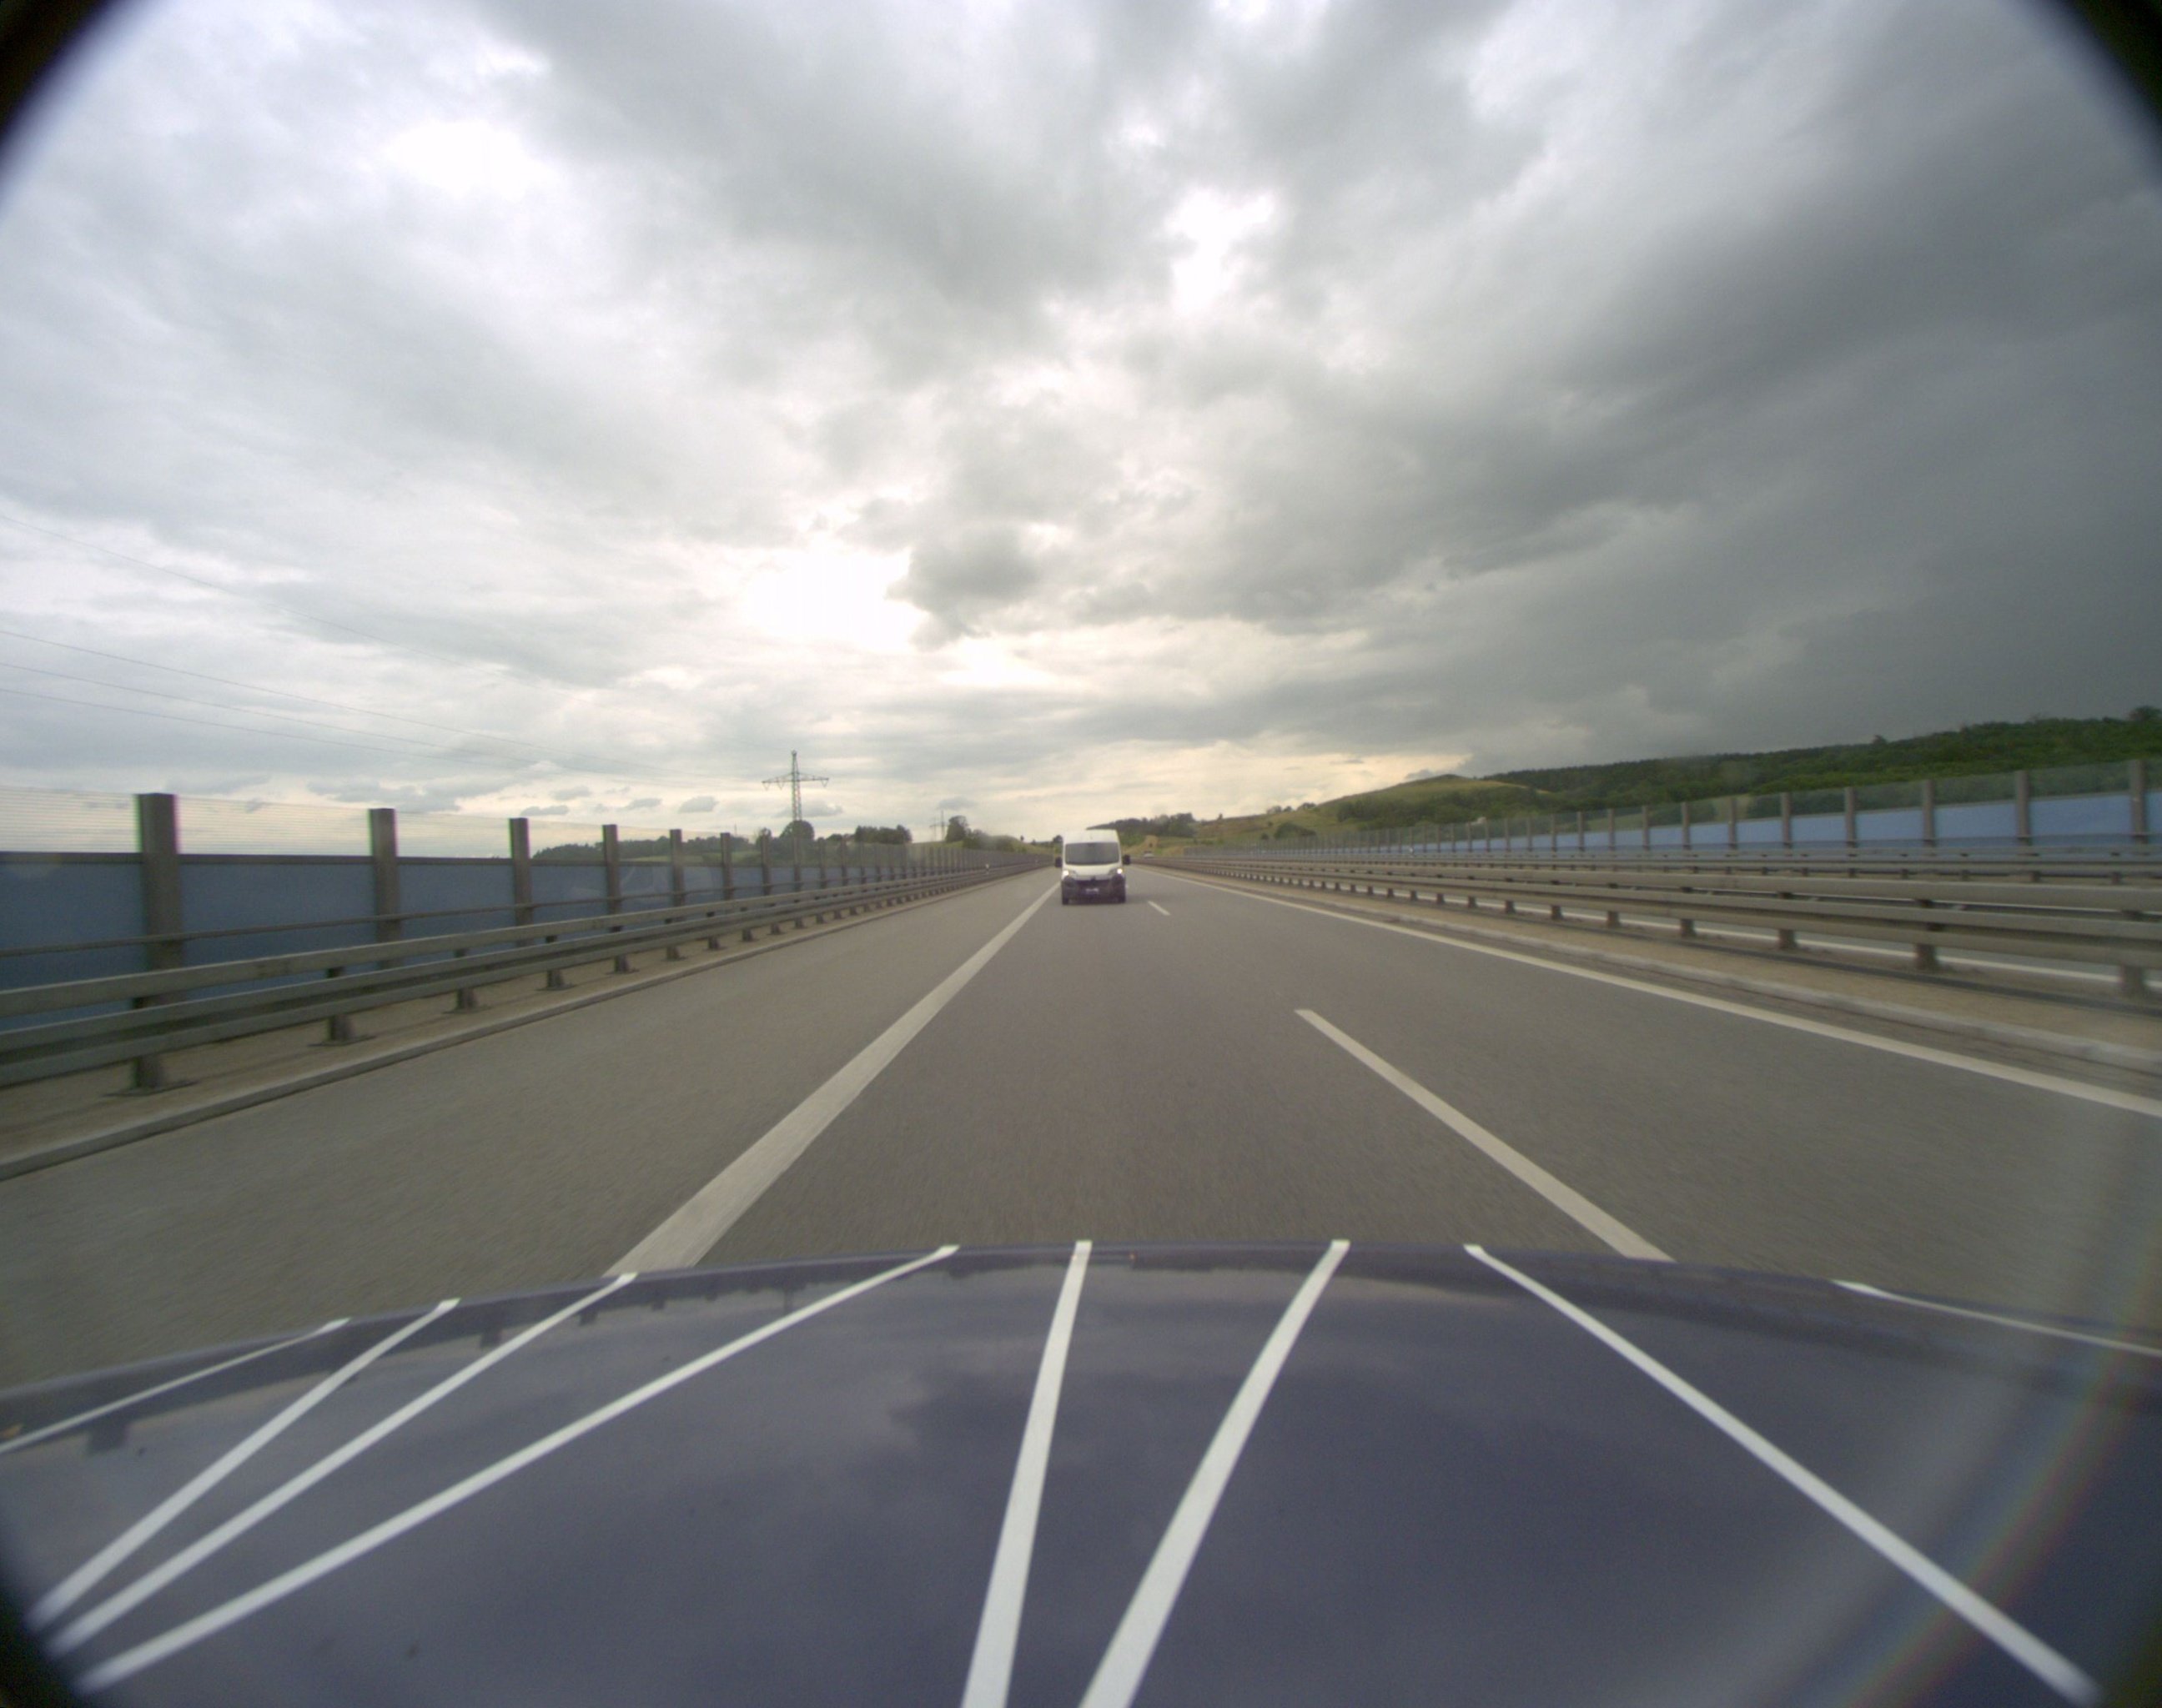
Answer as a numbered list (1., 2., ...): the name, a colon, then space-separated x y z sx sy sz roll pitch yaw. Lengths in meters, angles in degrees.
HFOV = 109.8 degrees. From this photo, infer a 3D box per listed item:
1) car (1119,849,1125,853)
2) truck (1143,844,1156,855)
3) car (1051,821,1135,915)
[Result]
1. car: 13.988 -1.070 260.465 1.758 1.483 4.000 -2 0 1
2. truck: 16.253 -0.983 180.897 2.278 2.417 7.451 -2 0 1
3. car: 0.406 0.376 22.970 2.132 2.411 6.112 -1 0 2
